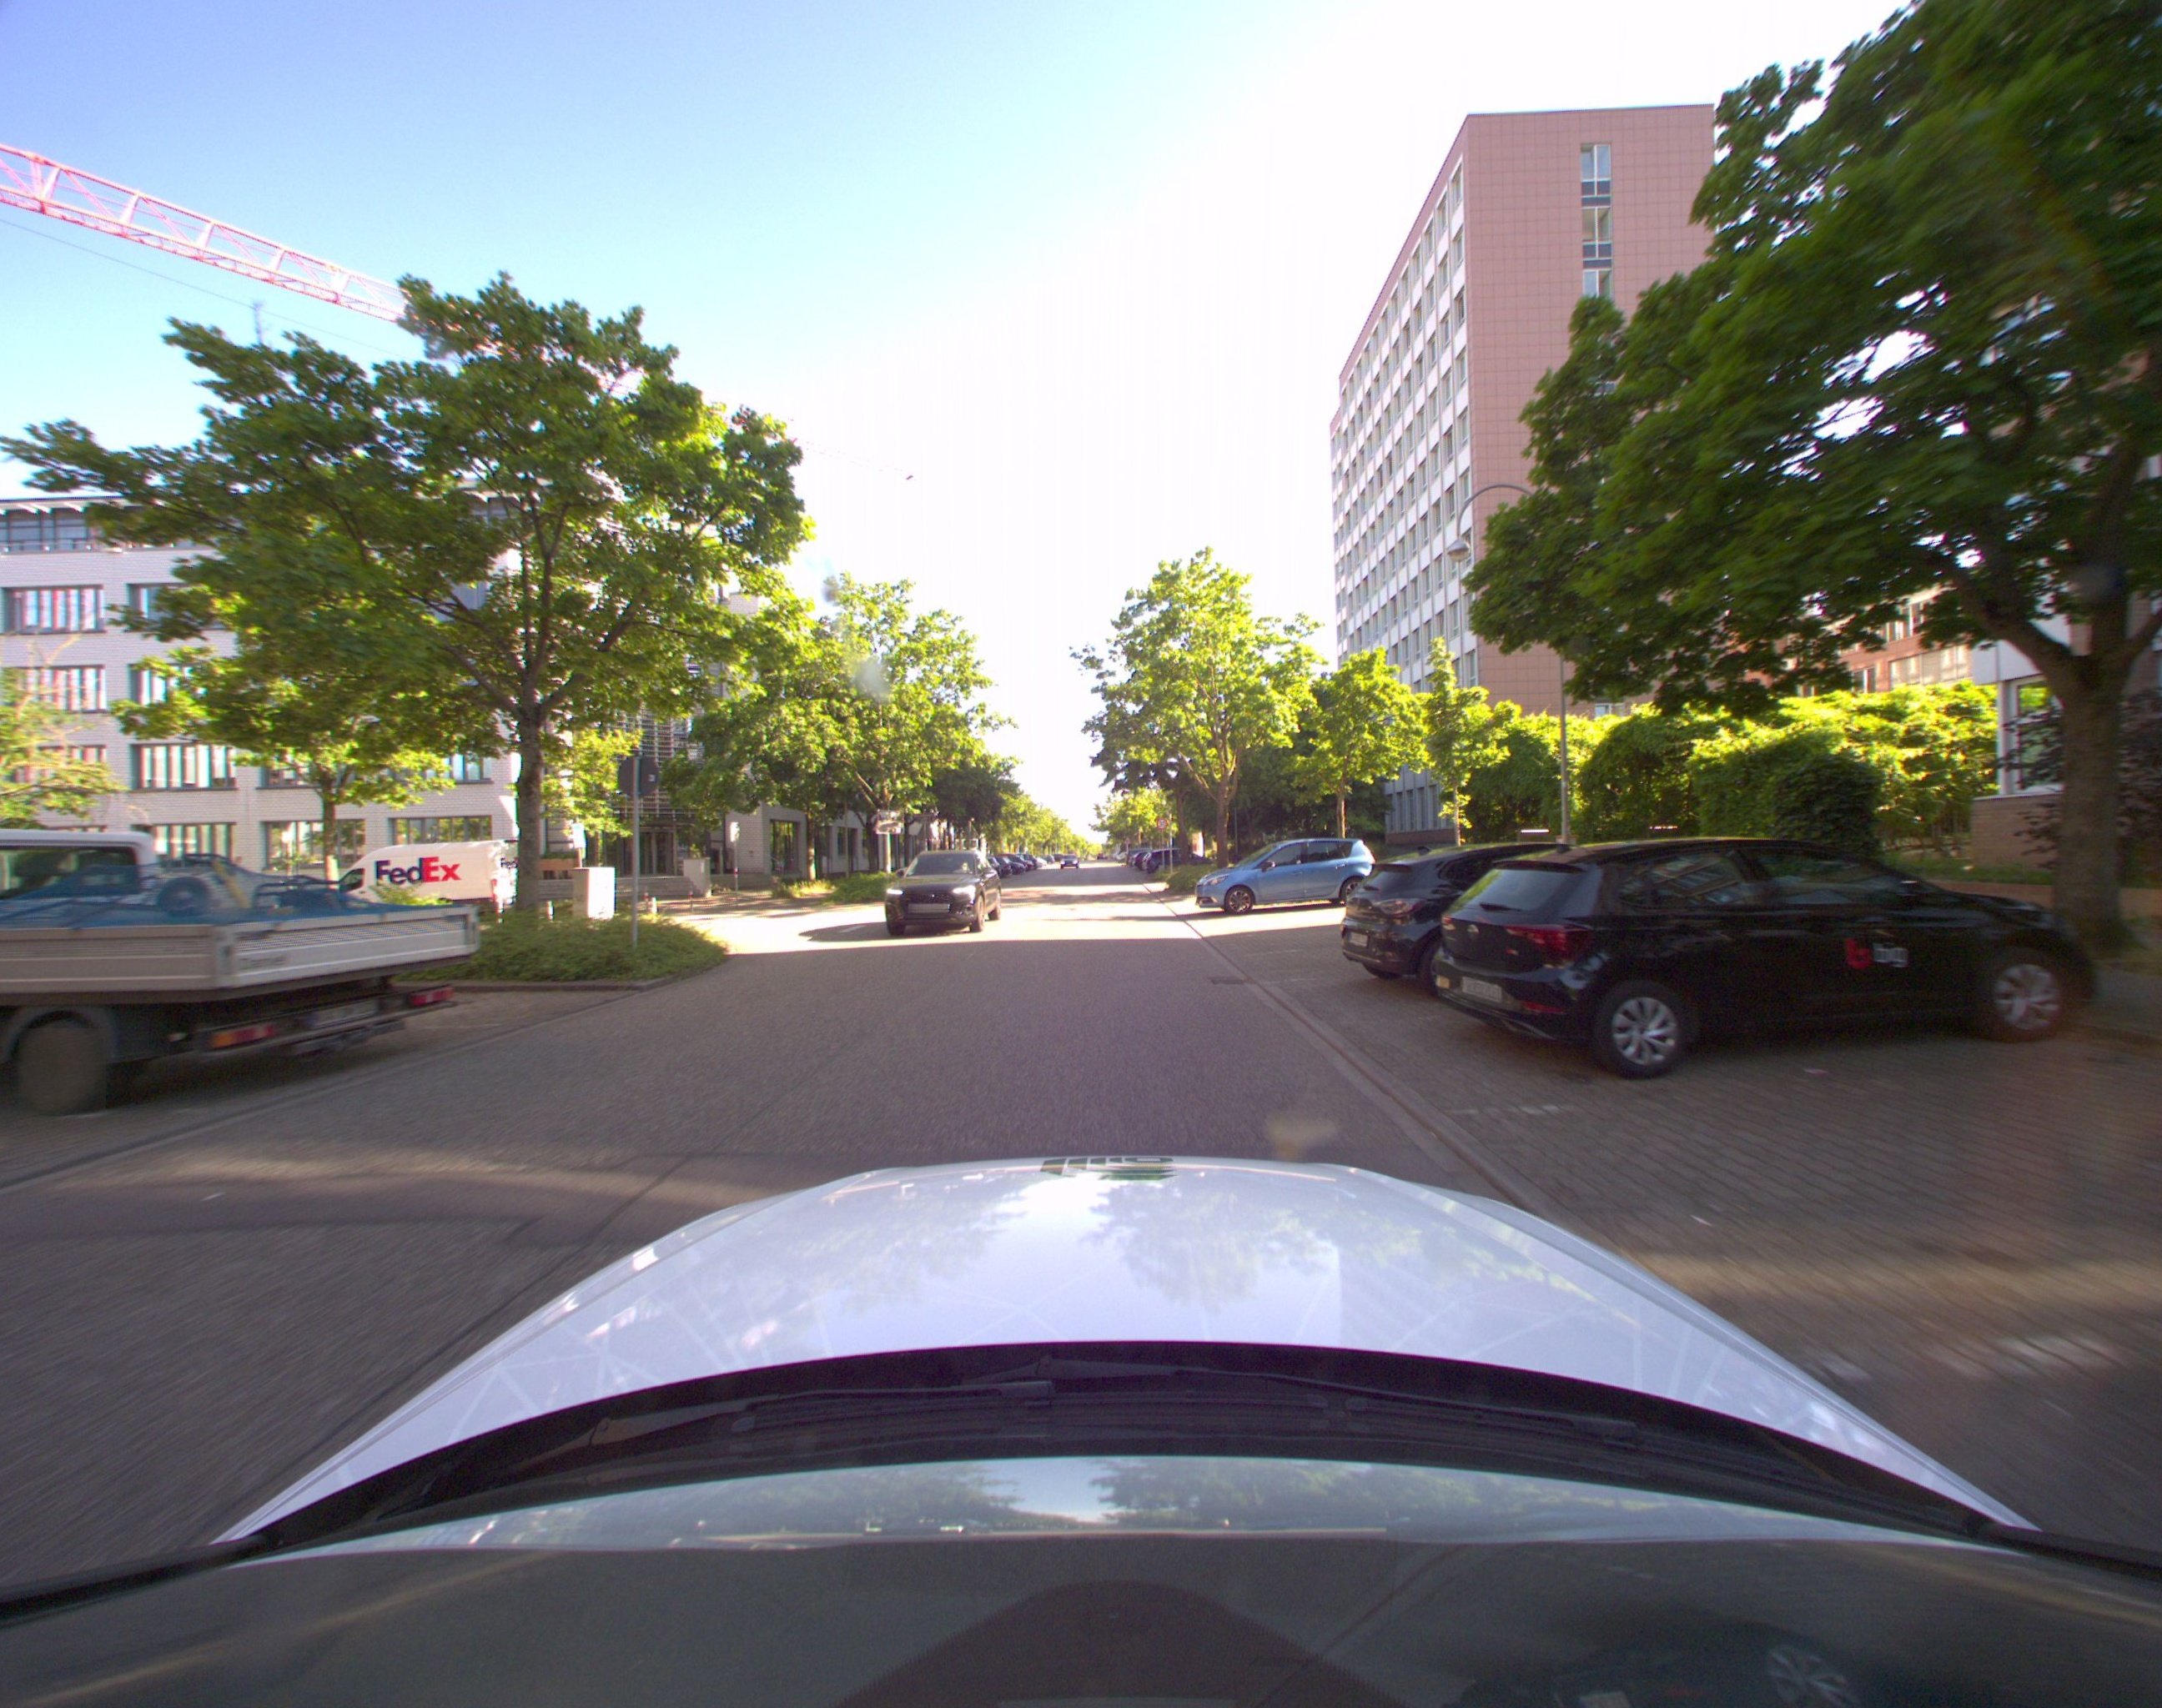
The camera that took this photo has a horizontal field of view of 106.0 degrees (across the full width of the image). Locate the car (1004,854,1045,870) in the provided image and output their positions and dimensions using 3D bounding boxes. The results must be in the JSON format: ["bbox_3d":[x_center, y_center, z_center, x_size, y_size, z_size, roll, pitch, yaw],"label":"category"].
[{"bbox_3d":[-5.516,0.806,80.029,3.880,1.464,1.858,-2,0,0],"label":"car"}]

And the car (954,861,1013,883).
[{"bbox_3d":[-6.568,1.223,55.161,3.748,1.445,1.632,0,0,1],"label":"car"}]

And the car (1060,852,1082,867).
[{"bbox_3d":[-0.974,0.543,82.225,1.804,1.415,4.113,-1,0,5],"label":"car"}]

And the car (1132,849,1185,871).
[{"bbox_3d":[6.250,0.477,66.157,4.039,1.591,1.547,-2,0,-6],"label":"car"}]

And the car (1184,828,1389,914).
[{"bbox_3d":[4.836,0.381,19.654,4.390,1.618,1.912,-5,0,0],"label":"car"}]

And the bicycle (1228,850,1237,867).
[{"bbox_3d":[10.046,0.282,53.975,0.377,1.047,1.888,-4,0,7],"label":"bicycle"}]

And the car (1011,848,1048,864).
[{"bbox_3d":[-5.571,0.196,88.334,3.880,1.612,1.858,-2,0,0],"label":"car"}]

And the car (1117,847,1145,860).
[{"bbox_3d":[7.439,-0.010,121.277,3.979,1.792,1.997,-2,0,-4],"label":"car"}]

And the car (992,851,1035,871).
[{"bbox_3d":[-6.002,0.655,72.850,3.526,1.657,1.762,-2,-1,3],"label":"car"}]

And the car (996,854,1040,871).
[{"bbox_3d":[-5.914,0.798,76.750,3.880,1.464,1.858,-2,0,0],"label":"car"}]

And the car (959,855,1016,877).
[{"bbox_3d":[-6.592,0.806,57.828,3.856,1.456,1.753,0,1,-2],"label":"car"}]

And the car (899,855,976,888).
[{"bbox_3d":[-7.163,0.901,40.870,3.570,1.549,1.636,-2,-3,-1],"label":"car"}]

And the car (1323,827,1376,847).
[{"bbox_3d":[24.034,-1.513,72.867,4.062,1.783,1.998,0,0,-3],"label":"car"}]

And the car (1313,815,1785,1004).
[{"bbox_3d":[4.645,0.507,8.538,3.833,1.483,1.825,-4,1,0],"label":"car"}]

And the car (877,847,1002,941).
[{"bbox_3d":[-2.874,0.745,17.524,1.886,1.684,4.351,-2,0,-1],"label":"car"}]

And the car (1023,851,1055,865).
[{"bbox_3d":[-5.509,0.503,107.089,3.969,1.654,1.862,-3,0,3],"label":"car"}]

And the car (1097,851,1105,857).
[{"bbox_3d":[5.441,0.027,222.865,1.926,1.597,4.367,-2,0,1],"label":"car"}]

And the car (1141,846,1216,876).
[{"bbox_3d":[5.922,0.424,49.710,4.256,1.633,1.857,-3,0,-2],"label":"car"}]

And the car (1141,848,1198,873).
[{"bbox_3d":[5.987,0.437,55.127,3.624,1.467,1.633,-3,0,-1],"label":"car"}]

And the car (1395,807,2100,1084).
[{"bbox_3d":[4.532,0.537,5.908,3.793,1.408,1.700,-4,1,-4],"label":"car"}]

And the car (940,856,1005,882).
[{"bbox_3d":[-6.708,0.893,50.507,3.720,1.464,1.676,-2,0,0],"label":"car"}]

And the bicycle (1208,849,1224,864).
[{"bbox_3d":[10.498,0.197,63.314,0.380,1.078,1.775,-2,0,-19],"label":"bicycle"}]

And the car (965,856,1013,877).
[{"bbox_3d":[-6.747,0.872,59.843,3.412,1.463,1.694,0,1,-4],"label":"car"}]

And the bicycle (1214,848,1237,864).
[{"bbox_3d":[10.528,0.150,59.306,0.382,1.078,1.766,-2,0,-40],"label":"bicycle"}]

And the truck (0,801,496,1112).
[{"bbox_3d":[-7.846,0.723,6.384,4.964,1.959,2.140,-2,0,3],"label":"truck"}]

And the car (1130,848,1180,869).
[{"bbox_3d":[6.242,0.376,68.896,4.031,1.491,1.550,-3,0,0],"label":"car"}]

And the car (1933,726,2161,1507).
[{"bbox_3d":[4.398,0.463,1.280,4.345,1.597,1.936,-2,0,-5],"label":"car"}]

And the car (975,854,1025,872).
[{"bbox_3d":[-6.510,0.723,65.446,3.983,1.406,1.601,0,0,-7],"label":"car"}]

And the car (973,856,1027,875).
[{"bbox_3d":[-6.236,0.885,62.709,3.974,1.412,1.665,0,0,-1],"label":"car"}]

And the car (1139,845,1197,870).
[{"bbox_3d":[6.728,0.272,62.960,4.228,1.554,1.923,-4,0,5],"label":"car"}]

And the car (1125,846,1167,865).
[{"bbox_3d":[6.363,0.134,80.243,3.882,1.656,1.857,-2,0,-2],"label":"car"}]

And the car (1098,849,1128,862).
[{"bbox_3d":[4.441,0.181,114.730,3.979,1.624,1.997,-2,0,-4],"label":"car"}]

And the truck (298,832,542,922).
[{"bbox_3d":[-22.482,0.743,27.952,6.085,2.704,2.577,-2,0,-1],"label":"truck"}]
